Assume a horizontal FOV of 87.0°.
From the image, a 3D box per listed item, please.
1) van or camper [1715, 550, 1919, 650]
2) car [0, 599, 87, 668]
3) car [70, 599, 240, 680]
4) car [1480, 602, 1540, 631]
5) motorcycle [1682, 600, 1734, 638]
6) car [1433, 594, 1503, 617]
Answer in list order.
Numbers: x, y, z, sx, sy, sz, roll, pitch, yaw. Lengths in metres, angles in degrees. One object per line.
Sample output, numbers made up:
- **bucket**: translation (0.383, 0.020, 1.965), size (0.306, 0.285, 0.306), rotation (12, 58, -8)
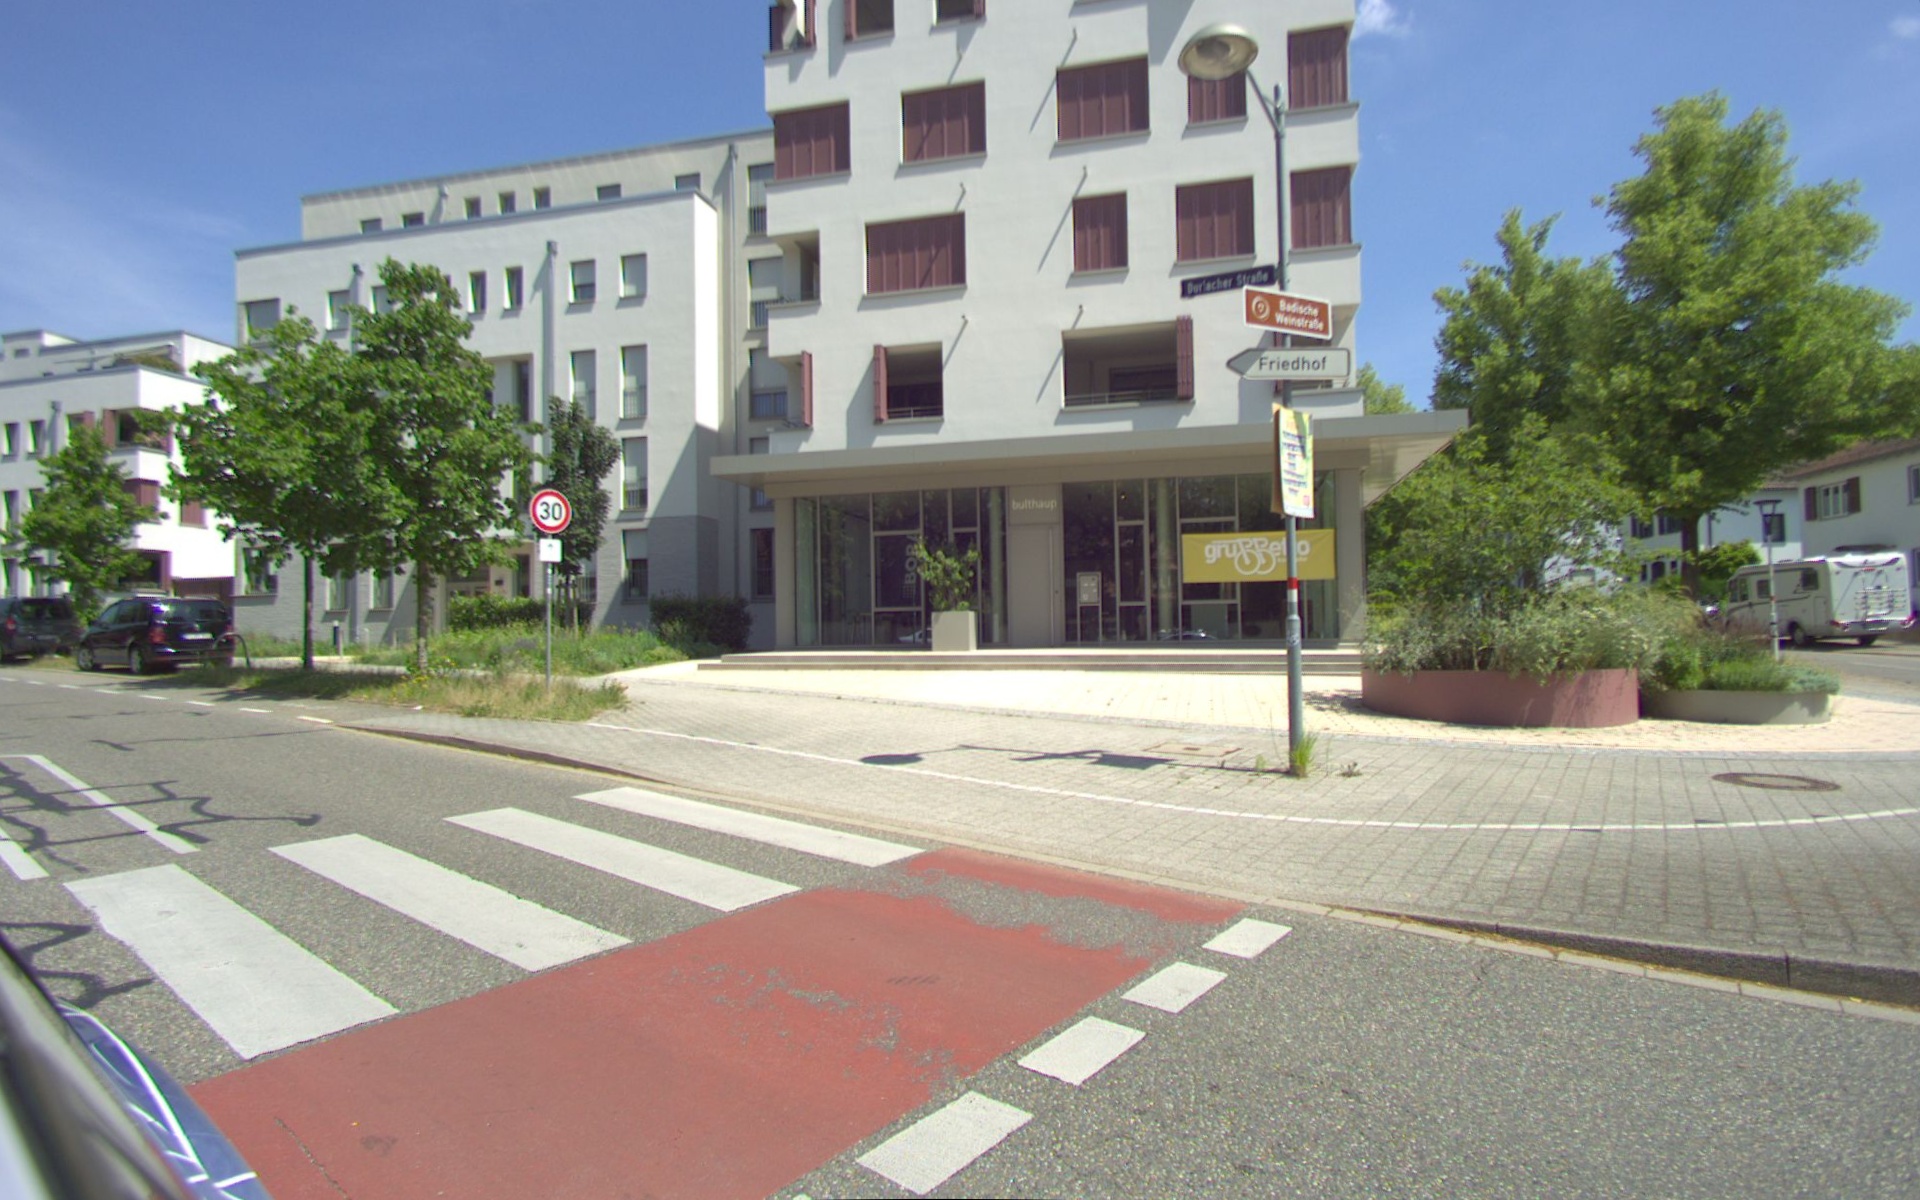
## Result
- **van or camper**: translation (26.166, 0.015, 31.032), size (2.250, 2.658, 5.867), rotation (-3, -1, 10)
- **car**: translation (-25.048, 0.853, 26.996), size (3.615, 1.713, 1.681), rotation (-1, -1, 32)
- **car**: translation (-17.742, 0.817, 22.274), size (4.007, 1.650, 1.681), rotation (-1, -1, 32)
- **car**: translation (30.117, 0.916, 55.500), size (1.738, 1.516, 3.978), rotation (-1, -1, 11)
- **motorcycle**: translation (26.976, 0.682, 36.485), size (2.196, 1.329, 0.742), rotation (0, -1, -32)
- **car**: translation (36.755, 0.410, 73.284), size (4.068, 1.621, 1.814), rotation (0, -1, 5)
